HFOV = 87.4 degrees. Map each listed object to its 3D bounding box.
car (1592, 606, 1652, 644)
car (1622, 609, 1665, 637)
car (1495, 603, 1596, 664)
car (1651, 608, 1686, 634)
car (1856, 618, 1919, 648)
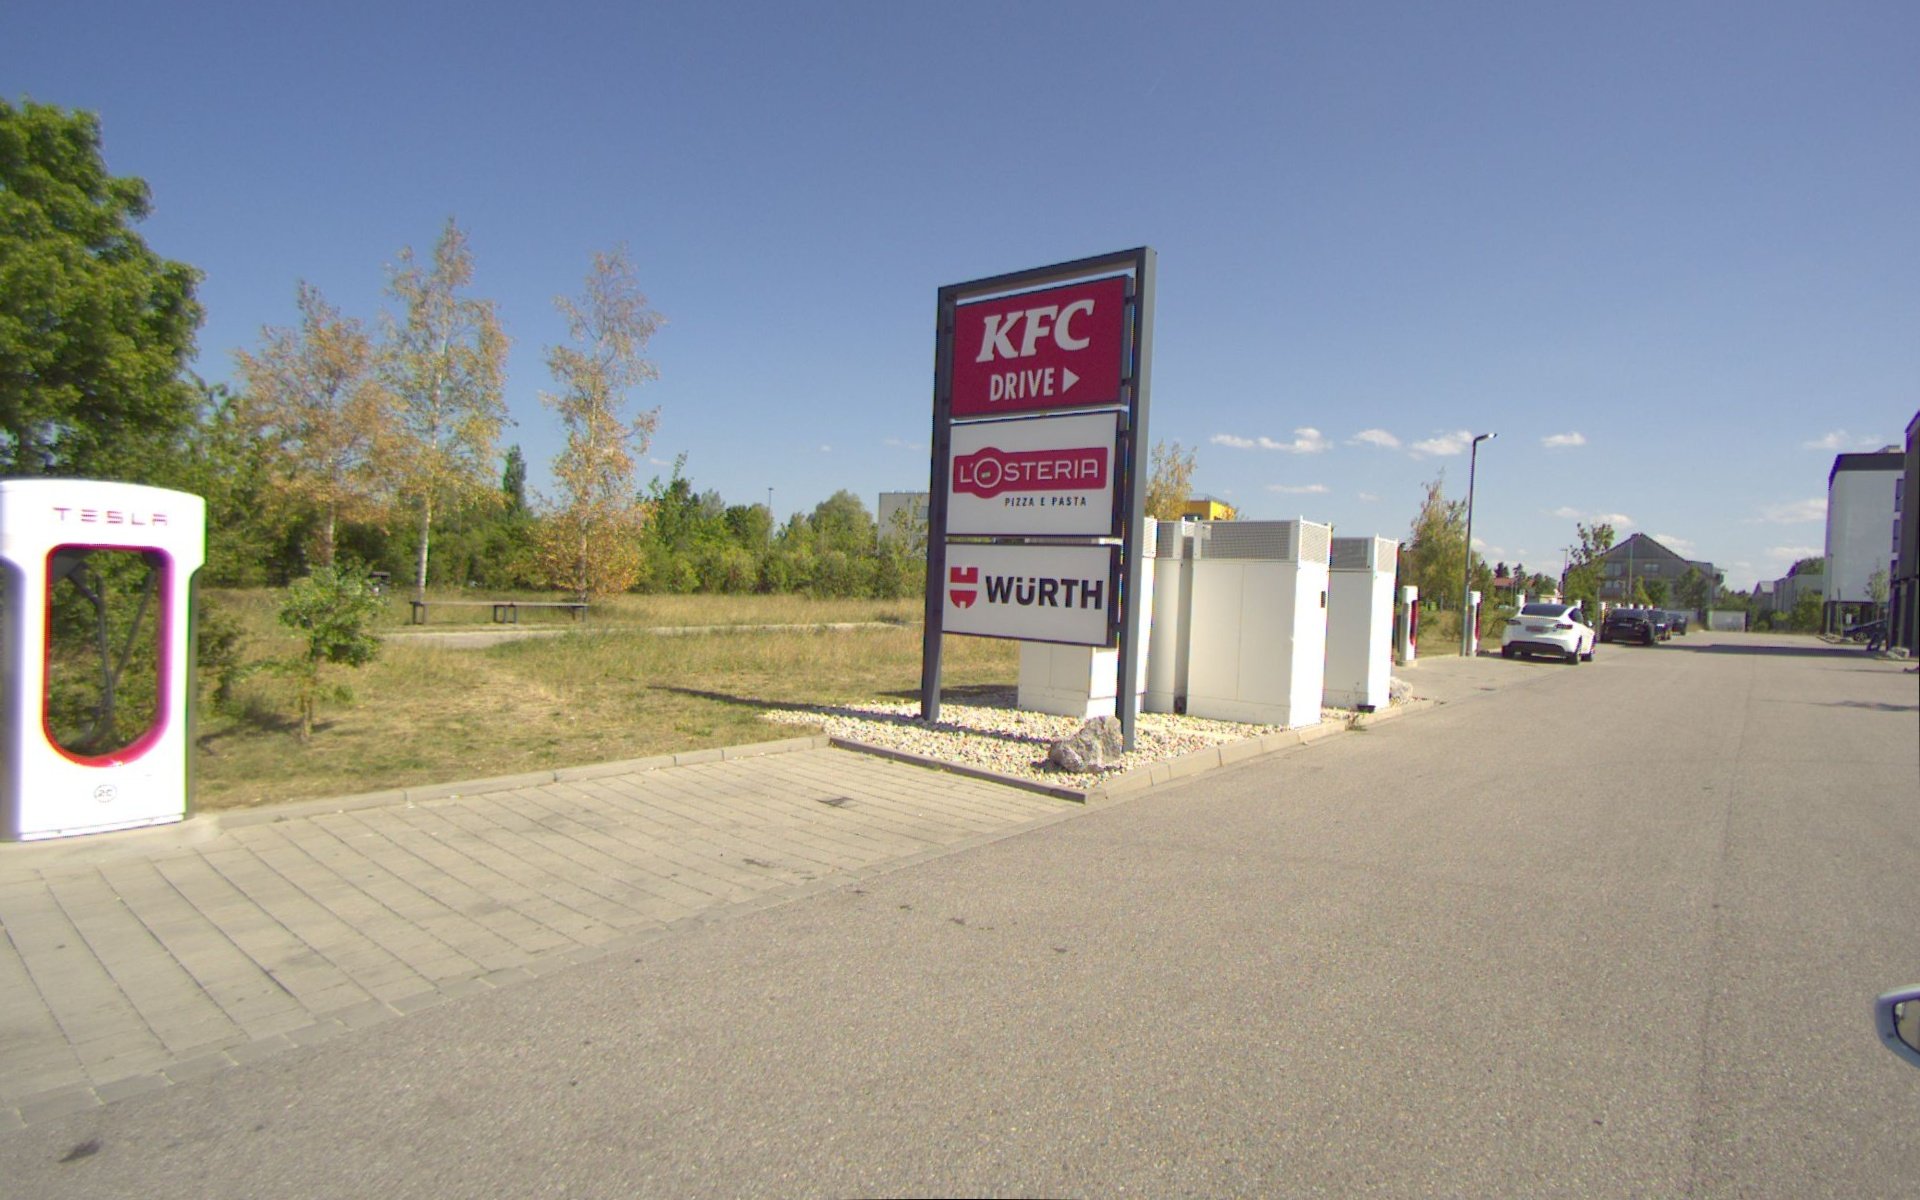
[{"bbox_3d":[30.327,1.124,45.980,1.921,1.589,3.983,3,1,38],"label":"car"},{"bbox_3d":[37.486,1.218,55.033,1.720,1.406,3.985,3,1,37],"label":"car"},{"bbox_3d":[17.144,0.932,29.327,1.921,1.589,3.982,3,1,39],"label":"car"},{"bbox_3d":[48.308,1.421,68.461,1.720,1.589,3.985,3,1,37],"label":"car"},{"bbox_3d":[41.957,1.471,43.959,3.937,1.172,1.992,2,1,38],"label":"car"}]
